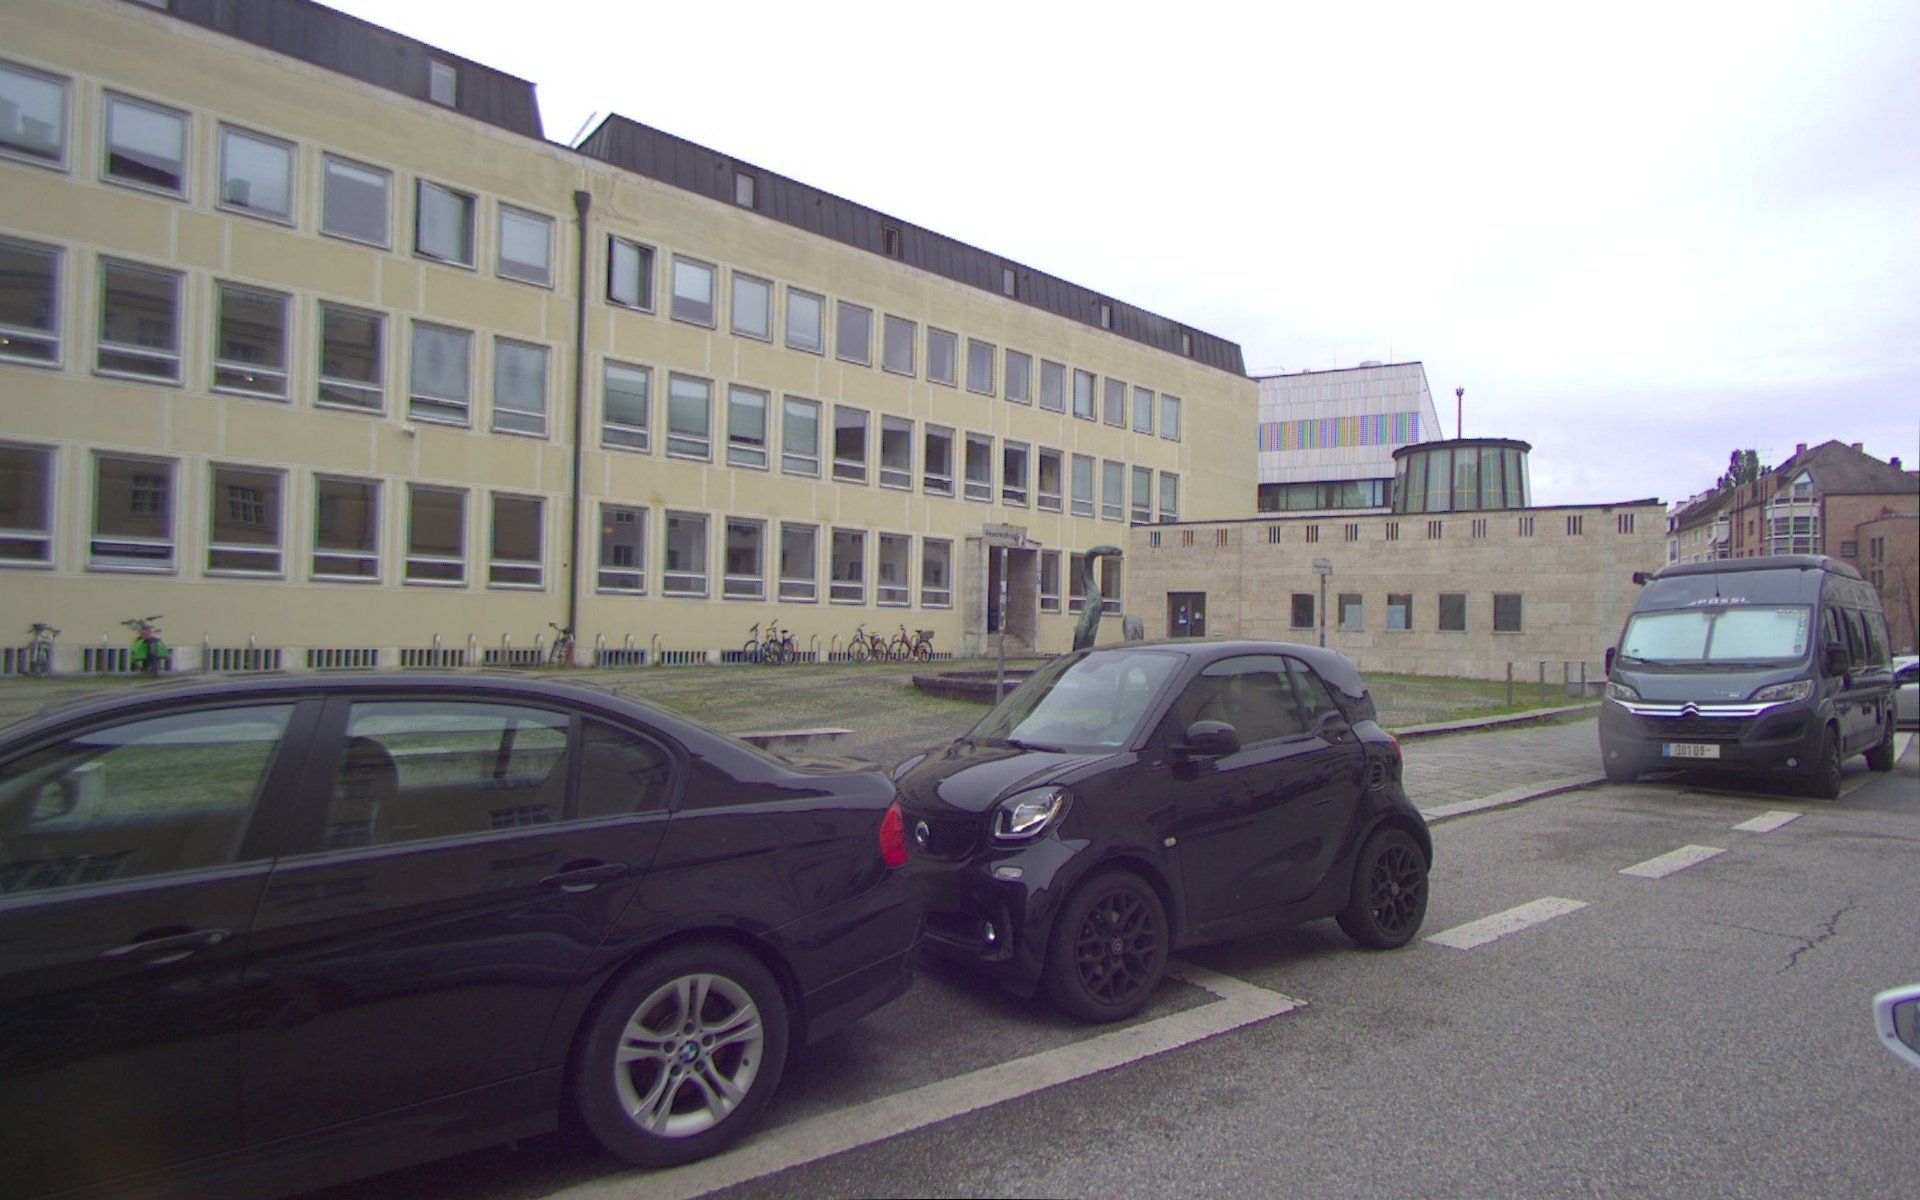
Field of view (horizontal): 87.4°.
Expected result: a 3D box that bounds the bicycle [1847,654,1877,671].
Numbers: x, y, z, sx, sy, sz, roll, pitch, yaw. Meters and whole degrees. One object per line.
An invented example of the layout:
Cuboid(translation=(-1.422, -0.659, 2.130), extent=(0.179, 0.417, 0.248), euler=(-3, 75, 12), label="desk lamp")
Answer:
Cuboid(translation=(73.390, 5.064, 81.749), extent=(1.729, 1.305, 0.552), euler=(1, -1, 33), label="bicycle")

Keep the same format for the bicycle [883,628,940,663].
Cuboid(translation=(-1.542, 1.424, 31.767), extent=(1.925, 1.028, 0.622), euler=(0, -1, 42), label="bicycle")

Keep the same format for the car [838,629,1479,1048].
Cuboid(translation=(1.064, 0.951, 5.196), extent=(2.947, 1.521, 1.660), euler=(2, -4, -34), label="car")

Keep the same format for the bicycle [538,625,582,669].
Cuboid(translation=(-9.897, 1.143, 24.833), extent=(0.619, 1.028, 1.935), euler=(2, -1, -33), label="bicycle")

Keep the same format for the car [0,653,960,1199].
Cuboid(translation=(-2.315, 0.868, 2.908), extent=(4.409, 1.424, 1.788), euler=(2, -4, -34), label="car")

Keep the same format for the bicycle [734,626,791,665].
Cuboid(translation=(-5.583, 1.277, 28.344), extent=(0.621, 1.028, 1.928), euler=(2, -2, -44), label="bicycle")

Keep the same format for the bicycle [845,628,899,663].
Cuboid(translation=(-2.728, 1.395, 31.003), extent=(0.621, 1.028, 1.929), euler=(2, -1, -41), label="bicycle")

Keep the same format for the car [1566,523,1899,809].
Cuboid(translation=(9.611, 0.736, 12.246), extent=(5.972, 2.676, 2.145), euler=(2, -3, -42), label="car")

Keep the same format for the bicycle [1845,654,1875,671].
Cuboid(translation=(73.742, 5.114, 82.314), extent=(1.729, 1.305, 0.552), euler=(1, -1, 33), label="bicycle")

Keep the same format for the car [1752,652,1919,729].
Cuboid(translation=(18.969, 1.855, 20.494), extent=(4.004, 1.500, 1.687), euler=(-1, -5, 12), label="car")

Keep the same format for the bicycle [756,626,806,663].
Cuboid(translation=(-5.220, 1.279, 29.196), extent=(0.620, 1.028, 1.932), euler=(2, -1, -37), label="bicycle")

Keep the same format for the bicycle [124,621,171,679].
Cuboid(translation=(-15.478, 0.926, 19.111), extent=(0.621, 1.028, 1.930), euler=(2, -1, -41), label="bicycle")

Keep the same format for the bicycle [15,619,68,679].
Cuboid(translation=(-16.707, 0.868, 18.305), extent=(0.621, 1.028, 1.930), euler=(2, -1, -41), label="bicycle")

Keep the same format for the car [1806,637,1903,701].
Cuboid(translation=(26.625, 2.000, 30.024), extent=(1.657, 1.729, 4.498), euler=(0, -2, 35), label="car")
